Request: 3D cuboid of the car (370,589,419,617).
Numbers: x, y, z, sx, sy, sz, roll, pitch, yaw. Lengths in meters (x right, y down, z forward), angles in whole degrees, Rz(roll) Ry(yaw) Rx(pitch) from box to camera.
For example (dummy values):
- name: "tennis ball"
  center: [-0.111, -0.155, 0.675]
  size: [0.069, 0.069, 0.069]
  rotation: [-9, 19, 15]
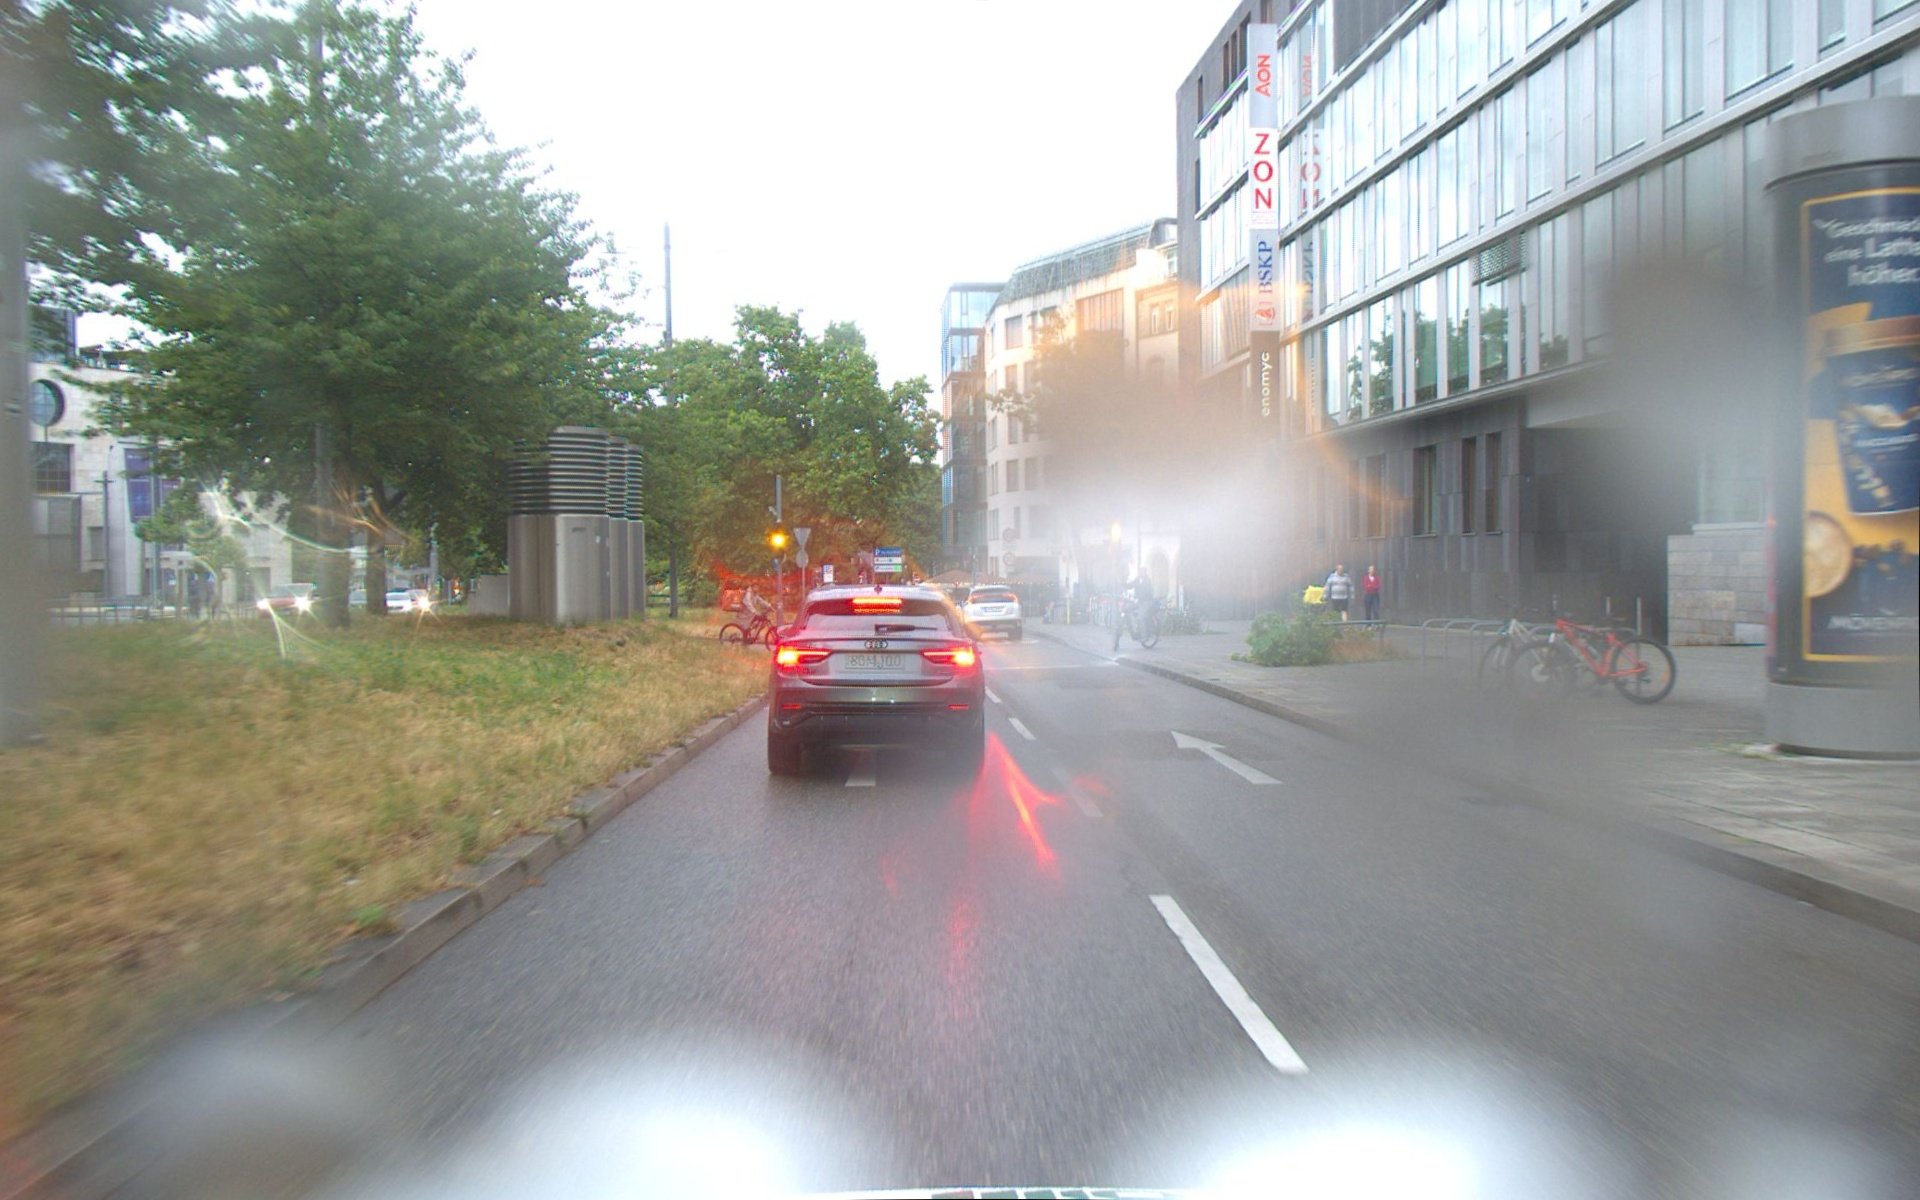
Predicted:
- name: "car"
  center: [-31.159, 0.158, 91.262]
  size: [1.785, 1.501, 4.185]
  rotation: [-1, 0, -8]

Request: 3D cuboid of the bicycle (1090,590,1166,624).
- name: "bicycle"
  center: [5.760, 0.232, 56.852]
  size: [2.486, 1.106, 0.677]
  rotation: [-2, 0, -5]

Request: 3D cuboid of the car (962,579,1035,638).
- name: "car"
  center: [1.189, 0.246, 50.987]
  size: [2.134, 1.730, 4.001]
  rotation: [-1, 0, 1]

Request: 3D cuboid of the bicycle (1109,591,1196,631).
- name: "bicycle"
  center: [5.774, 0.322, 49.644]
  size: [2.486, 1.106, 0.677]
  rotation: [-2, 0, -5]

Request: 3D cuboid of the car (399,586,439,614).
- name: "car"
  center: [-34.841, -0.039, 106.547]
  size: [1.692, 1.757, 4.574]
  rotation: [-1, 0, -8]

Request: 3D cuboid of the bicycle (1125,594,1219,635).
- name: "bicycle"
  center: [5.903, 0.405, 46.137]
  size: [2.486, 1.075, 0.677]
  rotation: [-1, 0, -5]

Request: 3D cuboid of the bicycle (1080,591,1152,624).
- name: "bicycle"
  center: [5.569, 0.279, 59.211]
  size: [2.486, 1.106, 0.627]
  rotation: [-2, 0, -5]

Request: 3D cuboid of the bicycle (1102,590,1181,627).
- name: "bicycle"
  center: [5.961, 0.275, 54.281]
  size: [2.486, 1.106, 0.677]
  rotation: [-2, 0, -5]

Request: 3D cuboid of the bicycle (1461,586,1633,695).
- name: "bicycle"
  center: [7.026, 0.472, 19.865]
  size: [1.797, 1.218, 0.660]
  rotation: [-2, 0, 3]

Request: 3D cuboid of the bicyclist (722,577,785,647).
- name: "bicyclist"
  center: [-4.920, 0.275, 39.412]
  size: [1.109, 1.610, 1.015]
  rotation: [2, 0, 19]

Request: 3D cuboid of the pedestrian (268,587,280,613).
- name: "pedestrian"
  center: [-54.434, 0.028, 131.238]
  size: [0.777, 2.049, 0.736]
  rotation: [1, 0, -21]

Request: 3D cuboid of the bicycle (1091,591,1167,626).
- name: "bicycle"
  center: [5.723, 0.272, 56.100]
  size: [2.486, 1.106, 0.677]
  rotation: [-2, 0, -5]

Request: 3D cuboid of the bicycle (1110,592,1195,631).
- name: "bicycle"
  center: [5.876, 0.344, 50.498]
  size: [2.486, 1.106, 0.677]
  rotation: [-2, 0, -5]

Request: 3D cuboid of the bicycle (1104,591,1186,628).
- name: "bicycle"
  center: [5.833, 0.296, 52.176]
  size: [2.486, 1.078, 0.677]
  rotation: [-2, 0, -5]

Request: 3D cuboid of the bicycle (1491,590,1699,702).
- name: "bicycle"
  center: [6.886, 0.486, 18.012]
  size: [1.942, 1.123, 0.809]
  rotation: [-2, 0, 3]

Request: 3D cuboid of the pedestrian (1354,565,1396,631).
- name: "pedestrian"
  center: [11.297, -0.054, 45.000]
  size: [0.704, 1.719, 1.099]
  rotation: [-3, 0, -5]

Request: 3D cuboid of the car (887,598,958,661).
- name: "car"
  center: [-1.020, 0.800, 47.265]
  size: [1.905, 1.675, 4.245]
  rotation: [-1, 0, 0]

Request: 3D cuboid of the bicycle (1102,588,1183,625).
- name: "bicycle"
  center: [5.863, 0.216, 53.085]
  size: [2.486, 1.106, 0.677]
  rotation: [-2, 0, -5]

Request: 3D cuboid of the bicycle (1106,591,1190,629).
- name: "bicycle"
  center: [5.823, 0.297, 51.309]
  size: [2.486, 1.106, 0.677]
  rotation: [-2, 0, -5]

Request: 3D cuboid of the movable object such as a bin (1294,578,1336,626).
- name: "movable object such as a bin"
  center: [9.898, 0.056, 46.151]
  size: [0.716, 1.286, 1.444]
  rotation: [-3, 0, -3]

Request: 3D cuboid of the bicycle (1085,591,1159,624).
- name: "bicycle"
  center: [5.643, 0.261, 57.741]
  size: [2.486, 1.106, 0.677]
  rotation: [-2, 0, -5]

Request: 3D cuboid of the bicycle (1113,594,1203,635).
- name: "bicycle"
  center: [5.687, 0.417, 47.615]
  size: [2.486, 1.106, 0.677]
  rotation: [-1, 0, -5]

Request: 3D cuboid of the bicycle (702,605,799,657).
- name: "bicycle"
  center: [-4.990, 0.729, 39.437]
  size: [2.018, 1.133, 1.012]
  rotation: [2, 0, 20]

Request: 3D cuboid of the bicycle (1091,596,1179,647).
- name: "bicycle"
  center: [4.202, 0.505, 39.600]
  size: [2.108, 1.165, 0.754]
  rotation: [-1, 0, -35]

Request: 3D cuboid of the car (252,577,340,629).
- name: "car"
  center: [-23.063, 0.074, 57.593]
  size: [1.909, 1.730, 3.992]
  rotation: [-1, 0, -8]

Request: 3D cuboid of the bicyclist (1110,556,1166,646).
- name: "bicyclist"
  center: [4.277, 0.033, 39.674]
  size: [1.072, 2.119, 0.754]
  rotation: [-1, 0, -35]

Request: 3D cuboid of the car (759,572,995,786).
- name: "car"
  center: [-0.627, 0.572, 14.858]
  size: [1.810, 1.644, 4.253]
  rotation: [0, 1, 0]

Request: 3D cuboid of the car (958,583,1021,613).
- name: "car"
  center: [1.859, -0.107, 106.490]
  size: [3.906, 1.676, 2.000]
  rotation: [3, 0, -1]

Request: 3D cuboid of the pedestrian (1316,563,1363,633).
- name: "pedestrian"
  center: [10.270, -0.060, 44.774]
  size: [0.882, 1.823, 1.046]
  rotation: [-3, 0, -5]

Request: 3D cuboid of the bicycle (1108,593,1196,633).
- name: "bicycle"
  center: [5.614, 0.375, 48.419]
  size: [2.486, 1.106, 0.677]
  rotation: [1, 0, -5]
